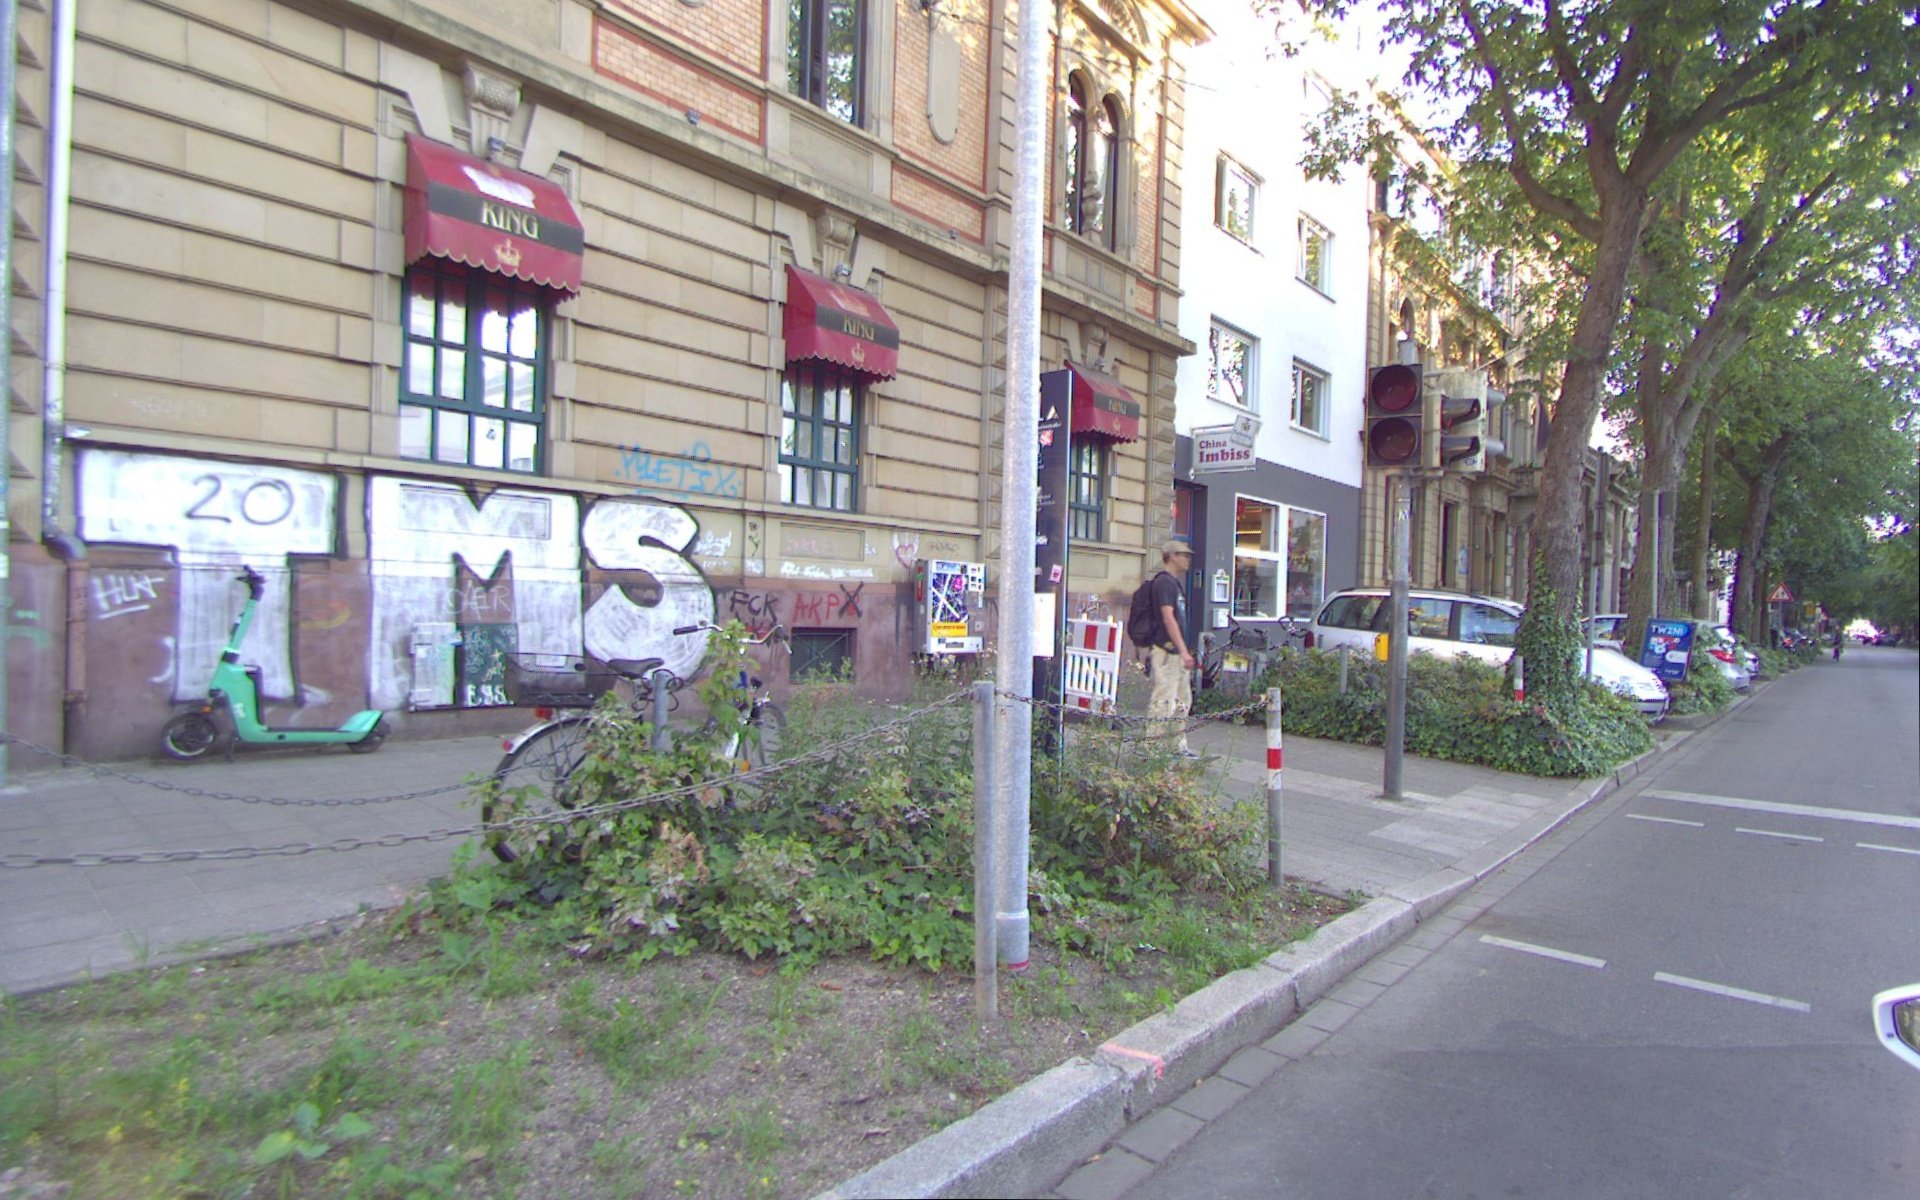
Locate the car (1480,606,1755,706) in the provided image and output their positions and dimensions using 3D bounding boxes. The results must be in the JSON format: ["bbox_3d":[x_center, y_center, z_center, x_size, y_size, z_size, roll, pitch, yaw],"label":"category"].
[{"bbox_3d":[12.508,0.992,19.282,1.815,1.578,4.128,2,0,-45],"label":"car"}]

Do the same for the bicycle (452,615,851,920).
[{"bbox_3d":[-1.321,0.651,4.663,0.492,1.122,1.794,5,2,36],"label":"bicycle"}]

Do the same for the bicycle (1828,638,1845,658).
[{"bbox_3d":[46.799,2.541,53.627,0.664,1.007,1.749,1,0,42],"label":"bicycle"}]

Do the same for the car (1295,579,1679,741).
[{"bbox_3d":[7.230,0.703,14.041,4.372,1.745,1.882,4,2,40],"label":"car"}]

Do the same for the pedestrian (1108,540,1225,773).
[{"bbox_3d":[1.676,0.428,8.283,0.814,1.801,0.767,3,3,7],"label":"pedestrian"}]

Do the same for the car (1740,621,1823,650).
[{"bbox_3d":[58.144,2.480,71.153,4.378,1.673,1.862,4,2,43],"label":"car"}]

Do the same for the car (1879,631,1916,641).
[{"bbox_3d":[149.148,5.772,159.814,4.221,1.586,1.952,-1,-3,42],"label":"car"}]

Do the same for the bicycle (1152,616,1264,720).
[{"bbox_3d":[2.991,0.782,12.004,0.493,1.122,1.791,5,2,40],"label":"bicycle"}]

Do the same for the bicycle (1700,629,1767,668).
[{"bbox_3d":[26.831,1.670,34.848,0.496,1.248,1.754,3,-1,-42],"label":"bicycle"}]

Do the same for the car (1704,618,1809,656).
[{"bbox_3d":[42.101,1.911,53.137,4.154,1.694,1.897,4,2,43],"label":"car"}]

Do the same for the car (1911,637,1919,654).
[{"bbox_3d":[102.816,4.822,105.195,4.668,1.733,1.938,2,0,44],"label":"car"}]

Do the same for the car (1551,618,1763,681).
[{"bbox_3d":[18.878,1.294,27.346,4.466,1.409,1.905,2,0,44],"label":"car"}]

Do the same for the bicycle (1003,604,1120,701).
[{"bbox_3d":[1.322,0.648,12.820,0.493,1.122,1.791,5,2,40],"label":"bicycle"}]

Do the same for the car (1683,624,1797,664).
[{"bbox_3d":[35.928,1.967,46.303,3.922,1.406,1.754,6,3,43],"label":"car"}]

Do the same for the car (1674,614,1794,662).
[{"bbox_3d":[33.831,1.639,43.974,3.921,1.618,1.771,7,3,43],"label":"car"}]

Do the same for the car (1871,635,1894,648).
[{"bbox_3d":[110.969,4.987,120.833,1.935,1.586,4.260,-1,-3,42],"label":"car"}]

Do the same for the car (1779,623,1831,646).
[{"bbox_3d":[100.217,4.121,119.205,4.630,2.510,1.989,2,-1,43],"label":"car"}]

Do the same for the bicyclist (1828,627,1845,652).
[{"bbox_3d":[46.862,2.097,53.681,0.664,1.280,0.644,1,0,42],"label":"bicyclist"}]

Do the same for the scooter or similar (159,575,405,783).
[{"bbox_3d":[-4.350,0.462,6.499,0.379,1.214,1.266,5,4,42],"label":"scooter or similar"}]

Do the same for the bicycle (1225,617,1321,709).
[{"bbox_3d":[4.222,0.820,13.461,0.493,1.122,1.791,5,2,40],"label":"bicycle"}]
